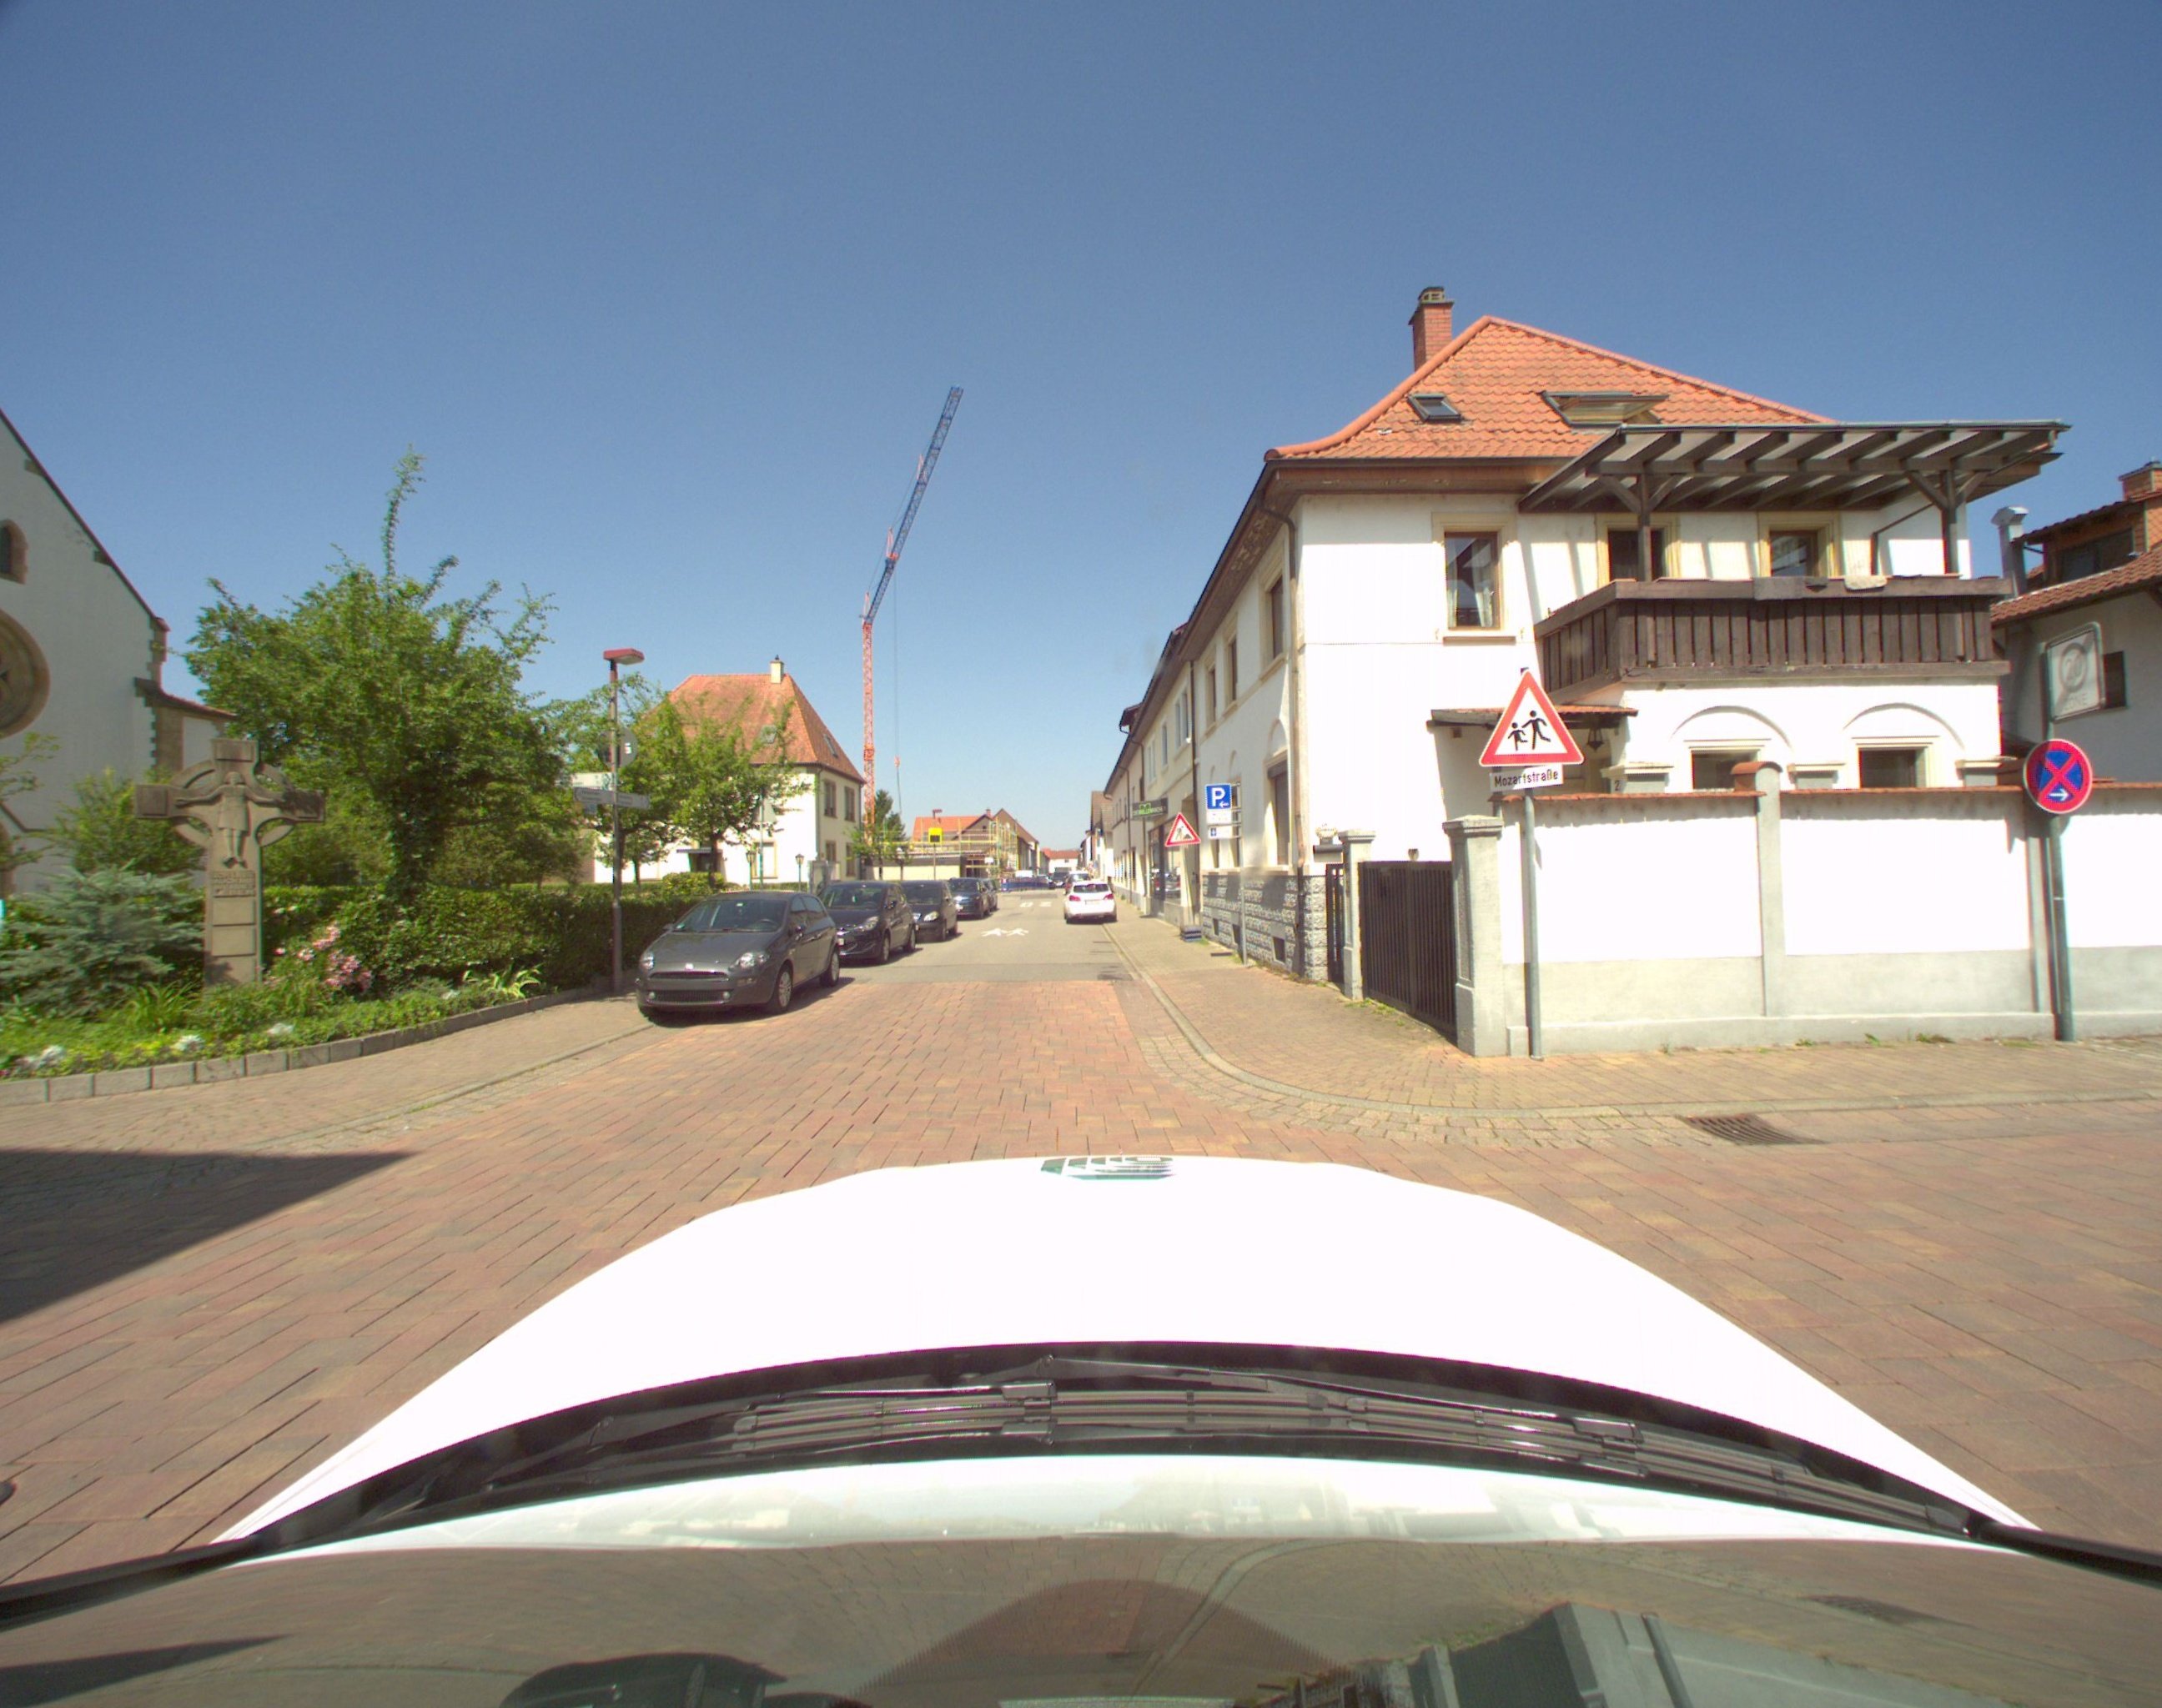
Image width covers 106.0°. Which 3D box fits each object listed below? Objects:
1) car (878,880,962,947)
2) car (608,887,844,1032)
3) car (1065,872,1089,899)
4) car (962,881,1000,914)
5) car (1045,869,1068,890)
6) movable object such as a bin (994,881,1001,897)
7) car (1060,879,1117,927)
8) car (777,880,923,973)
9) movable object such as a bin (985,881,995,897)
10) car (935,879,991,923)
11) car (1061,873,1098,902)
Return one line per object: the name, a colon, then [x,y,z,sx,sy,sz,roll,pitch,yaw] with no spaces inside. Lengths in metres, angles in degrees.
car: [-4.347,1.568,22.543,1.633,1.629,3.765,-1,-1,-2]
car: [-4.483,1.238,10.942,1.699,1.497,3.850,-1,-2,-4]
car: [-0.307,2.066,54.768,1.560,1.613,3.540,-1,1,-1]
car: [-4.719,2.025,38.733,1.433,1.475,3.782,-2,-2,-2]
car: [-2.128,2.188,70.104,1.876,1.668,4.150,-1,-2,-2]
movable object such as a bin: [-5.967,2.506,58.418,0.431,1.156,0.363,-1,-2,-11]
car: [0.292,1.717,29.704,1.880,1.542,4.242,-1,-2,1]
car: [-4.609,1.389,16.867,1.809,1.605,4.023,-1,-2,0]
movable object such as a bin: [-6.486,2.489,57.910,0.621,1.156,0.675,-1,-1,-8]
car: [-4.739,1.867,33.308,1.822,1.630,4.212,-1,-2,-3]
car: [-0.141,1.994,49.593,1.881,1.556,3.888,-5,-1,-4]
